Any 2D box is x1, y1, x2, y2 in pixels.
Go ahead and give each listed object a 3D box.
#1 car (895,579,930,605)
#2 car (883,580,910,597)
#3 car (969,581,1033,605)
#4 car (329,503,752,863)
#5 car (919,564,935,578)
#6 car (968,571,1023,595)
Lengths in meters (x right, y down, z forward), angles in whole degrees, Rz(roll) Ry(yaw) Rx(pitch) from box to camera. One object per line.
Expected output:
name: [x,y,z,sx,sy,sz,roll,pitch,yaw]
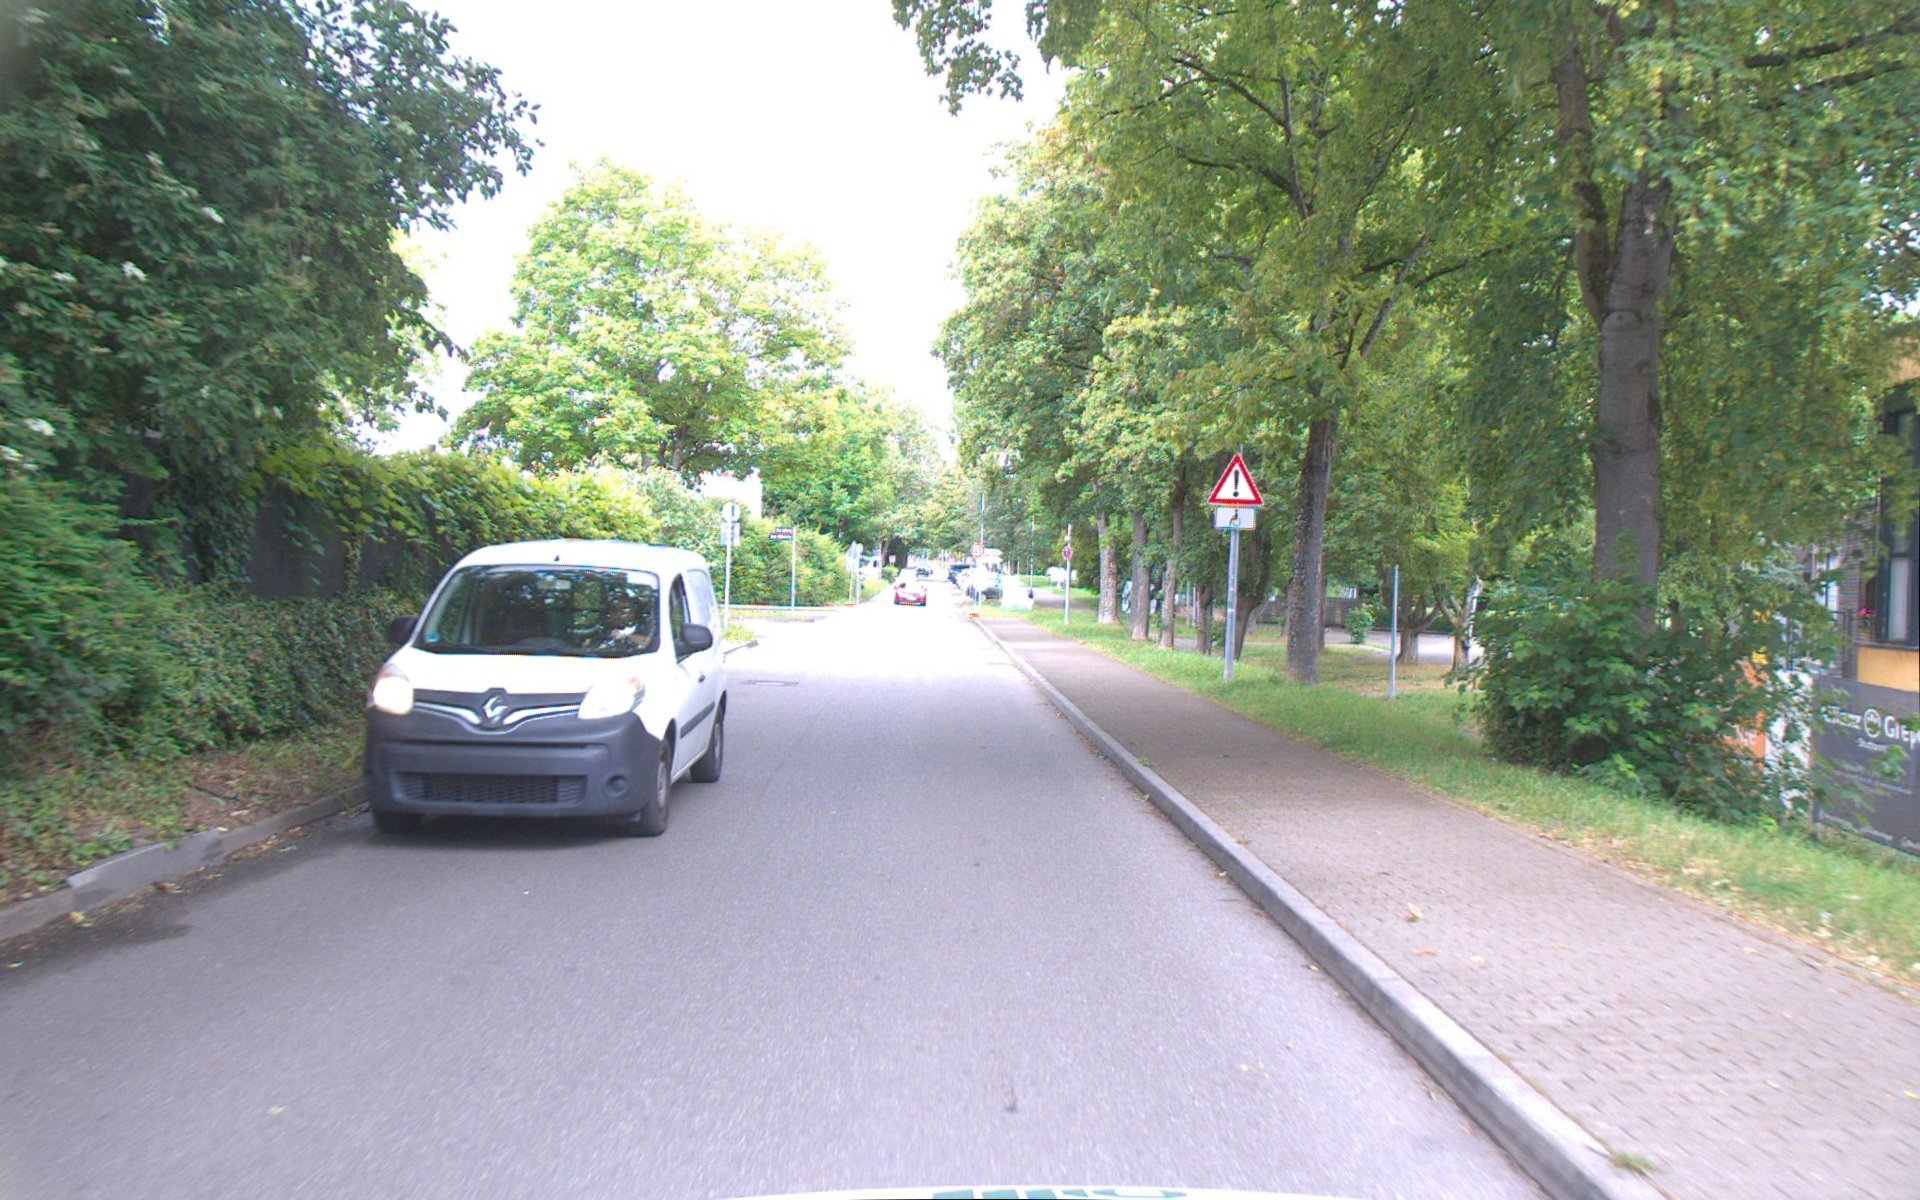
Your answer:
car: [-2.632,-0.475,92.170,1.714,1.359,4.066,2,1,1]
car: [-5.167,-0.964,135.610,1.744,1.329,4.298,3,1,4]
car: [2.632,-0.459,106.263,3.981,1.459,1.999,1,-1,-2]
car: [-2.566,0.473,11.253,1.835,1.947,4.430,1,0,-2]
car: [-4.444,-3.879,222.015,1.929,1.778,4.337,2,1,-2]
car: [2.663,-1.281,124.081,3.983,1.717,1.821,-2,1,-5]
